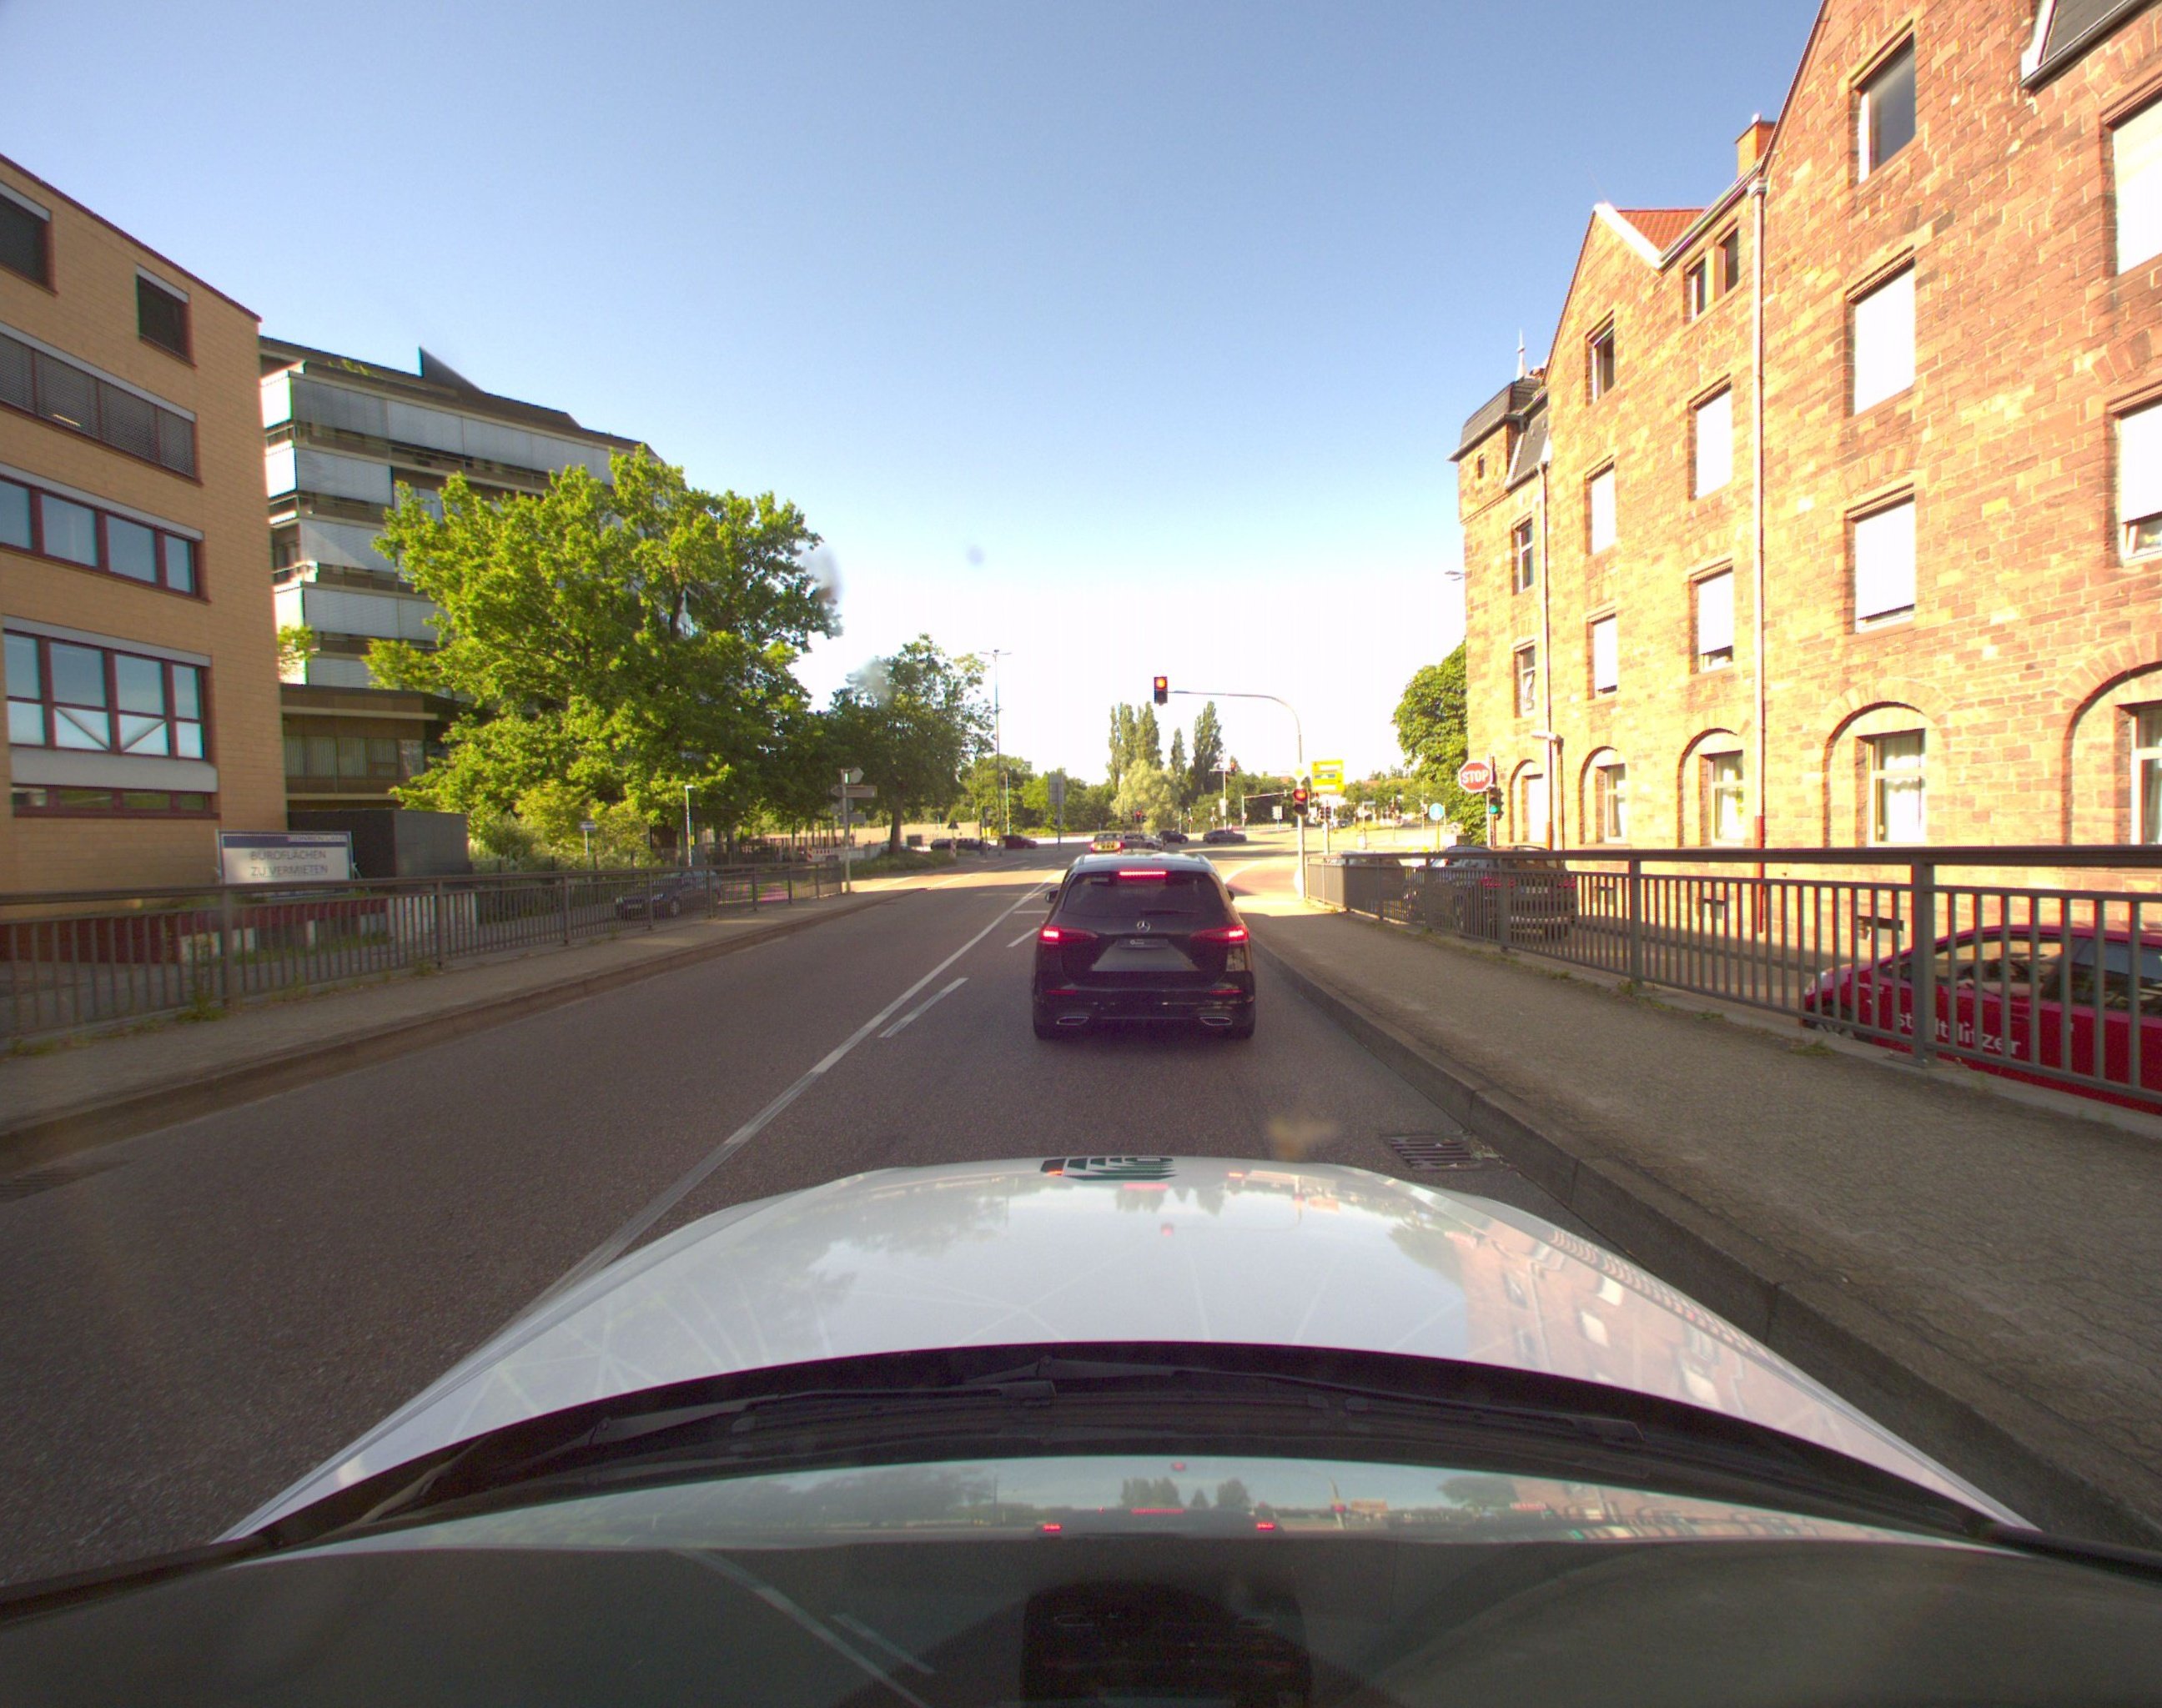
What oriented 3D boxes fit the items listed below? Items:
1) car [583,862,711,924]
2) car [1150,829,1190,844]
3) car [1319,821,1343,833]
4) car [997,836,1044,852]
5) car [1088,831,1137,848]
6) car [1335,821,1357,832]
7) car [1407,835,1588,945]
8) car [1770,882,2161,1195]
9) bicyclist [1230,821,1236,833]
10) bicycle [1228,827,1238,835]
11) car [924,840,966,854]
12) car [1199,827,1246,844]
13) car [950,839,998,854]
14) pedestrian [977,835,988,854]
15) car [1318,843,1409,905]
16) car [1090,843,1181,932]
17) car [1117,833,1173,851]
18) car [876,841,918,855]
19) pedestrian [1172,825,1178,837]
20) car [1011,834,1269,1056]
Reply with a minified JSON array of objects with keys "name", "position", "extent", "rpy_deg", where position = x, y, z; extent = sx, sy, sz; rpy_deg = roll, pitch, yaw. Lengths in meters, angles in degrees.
[{"name":"car","position":[-13.956,1.194,26.496],"extent":[1.844,1.692,4.002],"rpy_deg":[-2,2,2]},{"name":"car","position":[9.321,-1.879,85.662],"extent":[4.050,1.357,1.788],"rpy_deg":[-3,2,1]},{"name":"car","position":[35.071,-3.764,114.100],"extent":[1.860,1.578,4.026],"rpy_deg":[-1,2,38]},{"name":"car","position":[-6.456,-1.100,86.849],"extent":[4.499,1.455,2.011],"rpy_deg":[-2,2,20]},{"name":"car","position":[3.117,-1.421,80.987],"extent":[4.790,1.441,2.001],"rpy_deg":[-3,2,1]},{"name":"car","position":[38.769,-4.012,119.173],"extent":[1.860,1.578,4.026],"rpy_deg":[-1,2,38]},{"name":"car","position":[8.181,0.587,16.480],"extent":[1.714,1.811,4.303],"rpy_deg":[-1,3,4]},{"name":"car","position":[7.070,1.123,5.644],"extent":[1.715,1.521,3.488],"rpy_deg":[-2,3,2]},{"name":"bicyclist","position":[21.265,-3.766,113.828],"extent":[0.520,1.551,0.812],"rpy_deg":[-2,1,35]},{"name":"bicycle","position":[21.279,-3.270,113.848],"extent":[0.520,1.050,2.003],"rpy_deg":[-2,1,35]},{"name":"car","position":[-15.233,-0.778,91.128],"extent":[4.535,1.294,1.899],"rpy_deg":[-1,3,35]},{"name":"car","position":[14.141,-1.878,81.589],"extent":[4.276,1.441,1.996],"rpy_deg":[-3,2,-7]},{"name":"car","position":[-11.063,-0.778,84.013],"extent":[4.535,1.294,2.013],"rpy_deg":[-1,3,32]},{"name":"pedestrian","position":[-8.304,-0.800,68.386],"extent":[0.700,1.525,0.746],"rpy_deg":[-1,1,12]},{"name":"car","position":[8.760,0.552,25.578],"extent":[1.713,1.603,4.305],"rpy_deg":[-1,3,5]},{"name":"car","position":[1.132,0.602,16.823],"extent":[1.632,1.529,3.478],"rpy_deg":[-2,1,4]},{"name":"car","position":[5.331,-1.028,68.021],"extent":[4.176,1.294,2.013],"rpy_deg":[-1,3,32]},{"name":"car","position":[-20.397,-0.661,90.115],"extent":[4.258,1.365,2.013],"rpy_deg":[-1,3,33]},{"name":"pedestrian","position":[11.929,-2.916,103.020],"extent":[0.446,1.585,0.504],"rpy_deg":[-2,1,42]},{"name":"car","position":[0.497,0.645,7.945],"extent":[1.871,1.613,4.002],"rpy_deg":[0,1,2]}]
